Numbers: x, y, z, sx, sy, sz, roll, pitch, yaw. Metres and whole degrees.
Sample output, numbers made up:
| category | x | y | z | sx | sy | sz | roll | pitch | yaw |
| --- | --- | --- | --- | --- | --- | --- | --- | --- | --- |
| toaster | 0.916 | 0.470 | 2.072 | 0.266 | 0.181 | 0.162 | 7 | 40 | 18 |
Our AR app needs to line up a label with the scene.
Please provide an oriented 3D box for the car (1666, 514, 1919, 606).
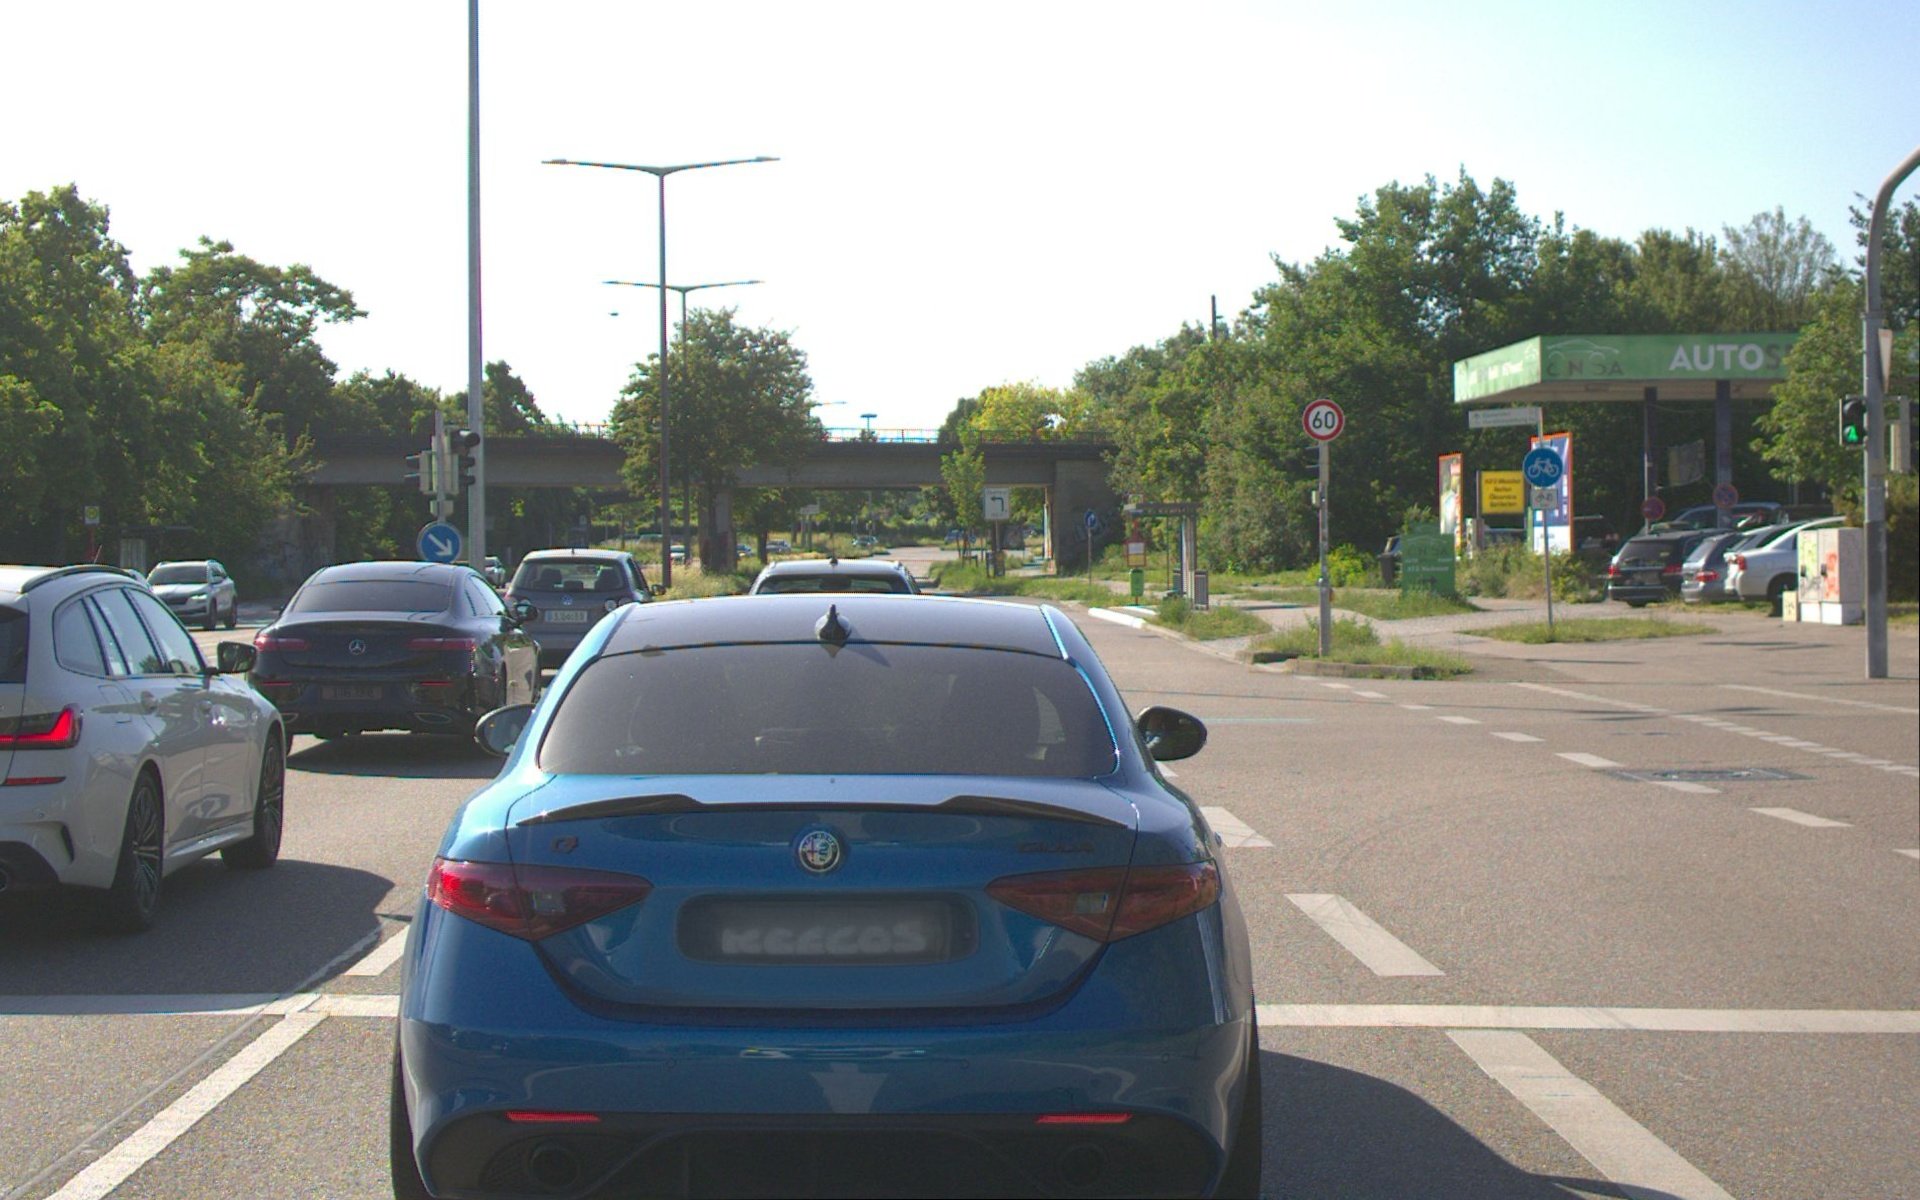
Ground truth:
| category | x | y | z | sx | sy | sz | roll | pitch | yaw |
| --- | --- | --- | --- | --- | --- | --- | --- | --- | --- |
| car | 14.912 | -0.714 | 60.699 | 4.489 | 1.449 | 1.858 | -2 | 0 | 1 |

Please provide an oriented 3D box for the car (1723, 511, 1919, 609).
| category | x | y | z | sx | sy | sz | roll | pitch | yaw |
| --- | --- | --- | --- | --- | --- | --- | --- | --- | --- |
| car | 14.682 | -0.671 | 55.039 | 4.489 | 1.449 | 1.858 | -2 | 0 | 1 |

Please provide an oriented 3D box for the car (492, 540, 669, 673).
| category | x | y | z | sx | sy | sz | roll | pitch | yaw |
| --- | --- | --- | --- | --- | --- | --- | --- | --- | --- |
| car | -4.521 | 0.065 | 41.443 | 1.759 | 1.485 | 4.403 | 1 | 0 | -2 |

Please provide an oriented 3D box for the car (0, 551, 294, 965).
| category | x | y | z | sx | sy | sz | roll | pitch | yaw |
| --- | --- | --- | --- | --- | --- | --- | --- | --- | --- |
| car | -4.080 | 0.546 | 14.534 | 1.785 | 1.485 | 4.403 | 1 | 0 | -2 |

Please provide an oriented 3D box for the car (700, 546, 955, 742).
| category | x | y | z | sx | sy | sz | roll | pitch | yaw |
| --- | --- | --- | --- | --- | --- | --- | --- | --- | --- |
| car | -1.044 | 0.314 | 27.418 | 1.850 | 1.413 | 4.403 | 1 | 0 | -2 |

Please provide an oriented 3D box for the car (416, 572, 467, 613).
| category | x | y | z | sx | sy | sz | roll | pitch | yaw |
| --- | --- | --- | --- | --- | --- | --- | --- | --- | --- |
| car | -21.322 | -0.316 | 141.394 | 1.609 | 1.641 | 3.463 | 1 | 0 | -1 |

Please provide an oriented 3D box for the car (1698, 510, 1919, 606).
| category | x | y | z | sx | sy | sz | roll | pitch | yaw |
| --- | --- | --- | --- | --- | --- | --- | --- | --- | --- |
| car | 14.847 | -0.725 | 57.673 | 4.489 | 1.449 | 1.858 | -2 | 0 | 1 |

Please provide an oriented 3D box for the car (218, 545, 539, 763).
| category | x | y | z | sx | sy | sz | roll | pitch | yaw |
| --- | --- | --- | --- | --- | --- | --- | --- | --- | --- |
| car | -4.303 | 0.363 | 26.076 | 1.796 | 1.485 | 4.476 | 1 | 0 | -2 |

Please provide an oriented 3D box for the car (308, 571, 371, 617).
| category | x | y | z | sx | sy | sz | roll | pitch | yaw |
| --- | --- | --- | --- | --- | --- | --- | --- | --- | --- |
| car | -21.549 | -0.218 | 119.436 | 1.615 | 1.554 | 3.358 | 1 | 0 | -1 |

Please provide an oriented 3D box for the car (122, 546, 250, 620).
| category | x | y | z | sx | sy | sz | roll | pitch | yaw |
| --- | --- | --- | --- | --- | --- | --- | --- | --- | --- |
| car | -18.129 | -0.407 | 80.713 | 1.988 | 1.624 | 4.478 | -2 | 0 | -1 |

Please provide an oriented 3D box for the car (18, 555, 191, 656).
| category | x | y | z | sx | sy | sz | roll | pitch | yaw |
| --- | --- | --- | --- | --- | --- | --- | --- | --- | --- |
| car | -13.497 | 0.064 | 54.439 | 1.759 | 1.485 | 3.837 | -2 | 1 | -1 |

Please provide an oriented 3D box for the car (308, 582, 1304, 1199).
| category | x | y | z | sx | sy | sz | roll | pitch | yaw |
| --- | --- | --- | --- | --- | --- | --- | --- | --- | --- |
| car | -0.364 | 0.677 | 8.804 | 1.895 | 1.413 | 4.403 | 1 | 0 | -2 |

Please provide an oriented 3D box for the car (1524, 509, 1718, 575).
| category | x | y | z | sx | sy | sz | roll | pitch | yaw |
| --- | --- | --- | --- | --- | --- | --- | --- | --- | --- |
| car | 16.802 | -1.476 | 87.509 | 4.551 | 1.485 | 1.765 | -2 | 0 | 1 |

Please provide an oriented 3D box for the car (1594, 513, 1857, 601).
| category | x | y | z | sx | sy | sz | roll | pitch | yaw |
| --- | --- | --- | --- | --- | --- | --- | --- | --- | --- |
| car | 14.276 | -0.804 | 64.283 | 4.489 | 1.449 | 1.858 | -2 | 0 | 1 |

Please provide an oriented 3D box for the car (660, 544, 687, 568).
| category | x | y | z | sx | sy | sz | roll | pitch | yaw |
| --- | --- | --- | --- | --- | --- | --- | --- | --- | --- |
| car | -19.512 | -2.983 | 234.295 | 1.571 | 1.612 | 4.000 | 1 | 0 | -1 |

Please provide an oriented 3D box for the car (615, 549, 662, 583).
| category | x | y | z | sx | sy | sz | roll | pitch | yaw |
| --- | --- | --- | --- | --- | --- | --- | --- | --- | --- |
| car | -14.865 | -1.591 | 159.095 | 1.759 | 1.485 | 4.478 | -2 | 1 | -1 |
